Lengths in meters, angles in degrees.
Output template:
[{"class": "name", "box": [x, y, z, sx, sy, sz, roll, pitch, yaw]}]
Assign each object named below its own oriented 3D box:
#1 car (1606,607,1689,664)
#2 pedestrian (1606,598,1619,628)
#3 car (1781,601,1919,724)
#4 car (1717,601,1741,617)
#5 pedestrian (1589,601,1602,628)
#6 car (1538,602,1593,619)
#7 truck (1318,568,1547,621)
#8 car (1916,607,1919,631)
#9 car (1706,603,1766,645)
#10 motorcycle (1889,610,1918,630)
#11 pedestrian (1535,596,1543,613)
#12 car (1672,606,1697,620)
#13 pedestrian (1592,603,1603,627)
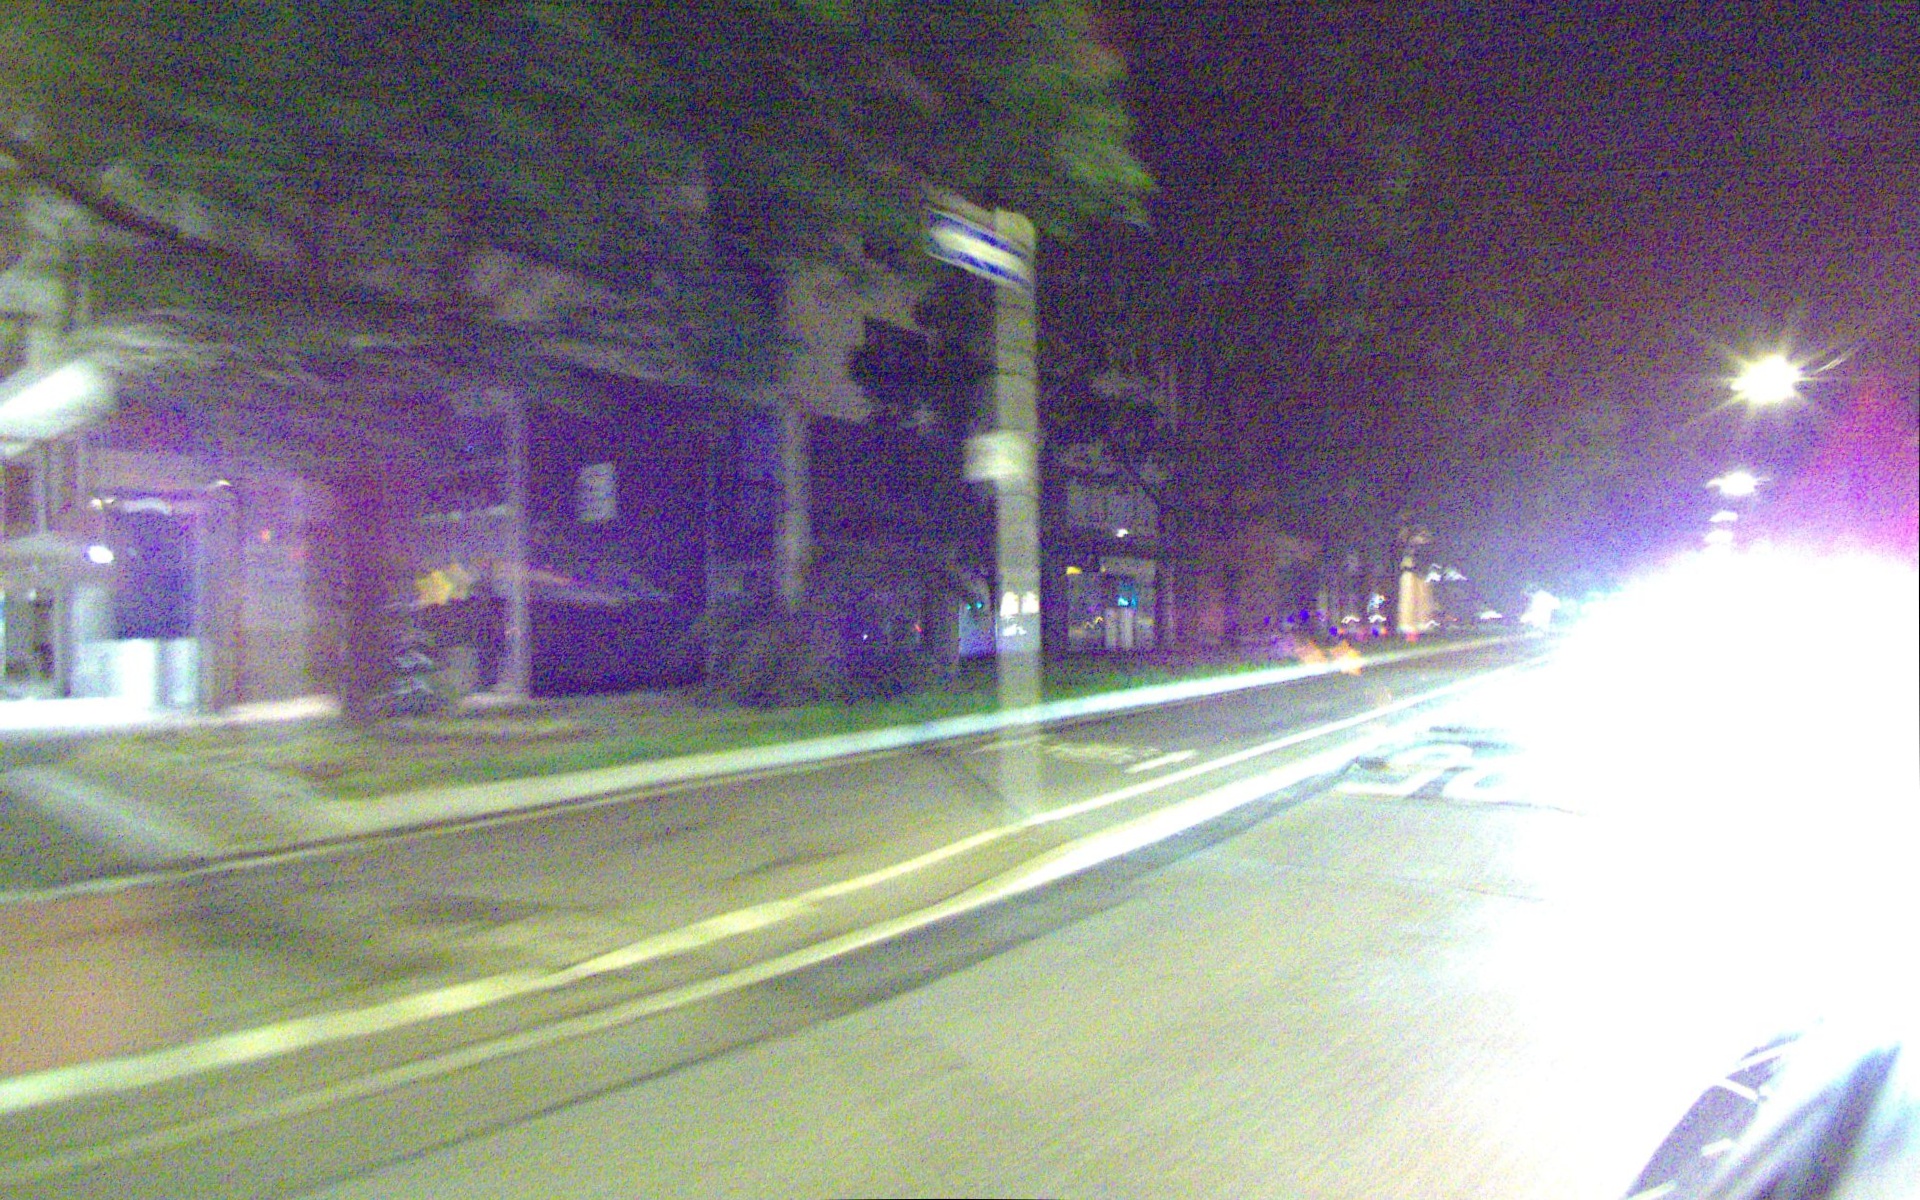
[{"class": "car", "box": [19.312, 0.940, 28.357, 1.720, 1.448, 4.438, -1, -1, 37]}, {"class": "pedestrian", "box": [40.687, 0.793, 63.074, 0.620, 1.834, 0.749, 0, 0, 37]}, {"class": "car", "box": [12.295, 0.762, 13.802, 1.627, 1.456, 3.786, 0, -1, 38]}, {"class": "car", "box": [84.103, 0.982, 110.653, 1.991, 1.656, 3.942, 1, 0, 40]}, {"class": "pedestrian", "box": [39.783, 0.886, 63.345, 0.619, 1.659, 0.670, 0, 0, 37]}, {"class": "car", "box": [53.450, 0.919, 89.386, 4.071, 1.472, 1.763, 1, 1, 37]}, {"class": "truck", "box": [38.268, -0.493, 82.877, 16.738, 4.034, 3.090, 0, 1, 38]}, {"class": "car", "box": [58.262, 1.176, 58.465, 1.860, 1.442, 4.722, 1, 1, 6]}, {"class": "car", "box": [30.226, 0.889, 39.512, 1.719, 1.481, 3.949, 1, 1, 36]}, {"class": "motorcycle", "box": [58.132, 1.242, 62.374, 0.566, 1.194, 2.019, 0, 0, 19]}, {"class": "pedestrian", "box": [63.441, 0.503, 110.899, 0.672, 1.840, 0.894, 0, 0, 37]}, {"class": "car", "box": [67.679, 1.210, 94.511, 1.612, 1.282, 3.575, -1, -1, 40]}, {"class": "pedestrian", "box": [40.641, 0.945, 64.517, 0.571, 1.553, 0.625, 0, 0, 37]}]
